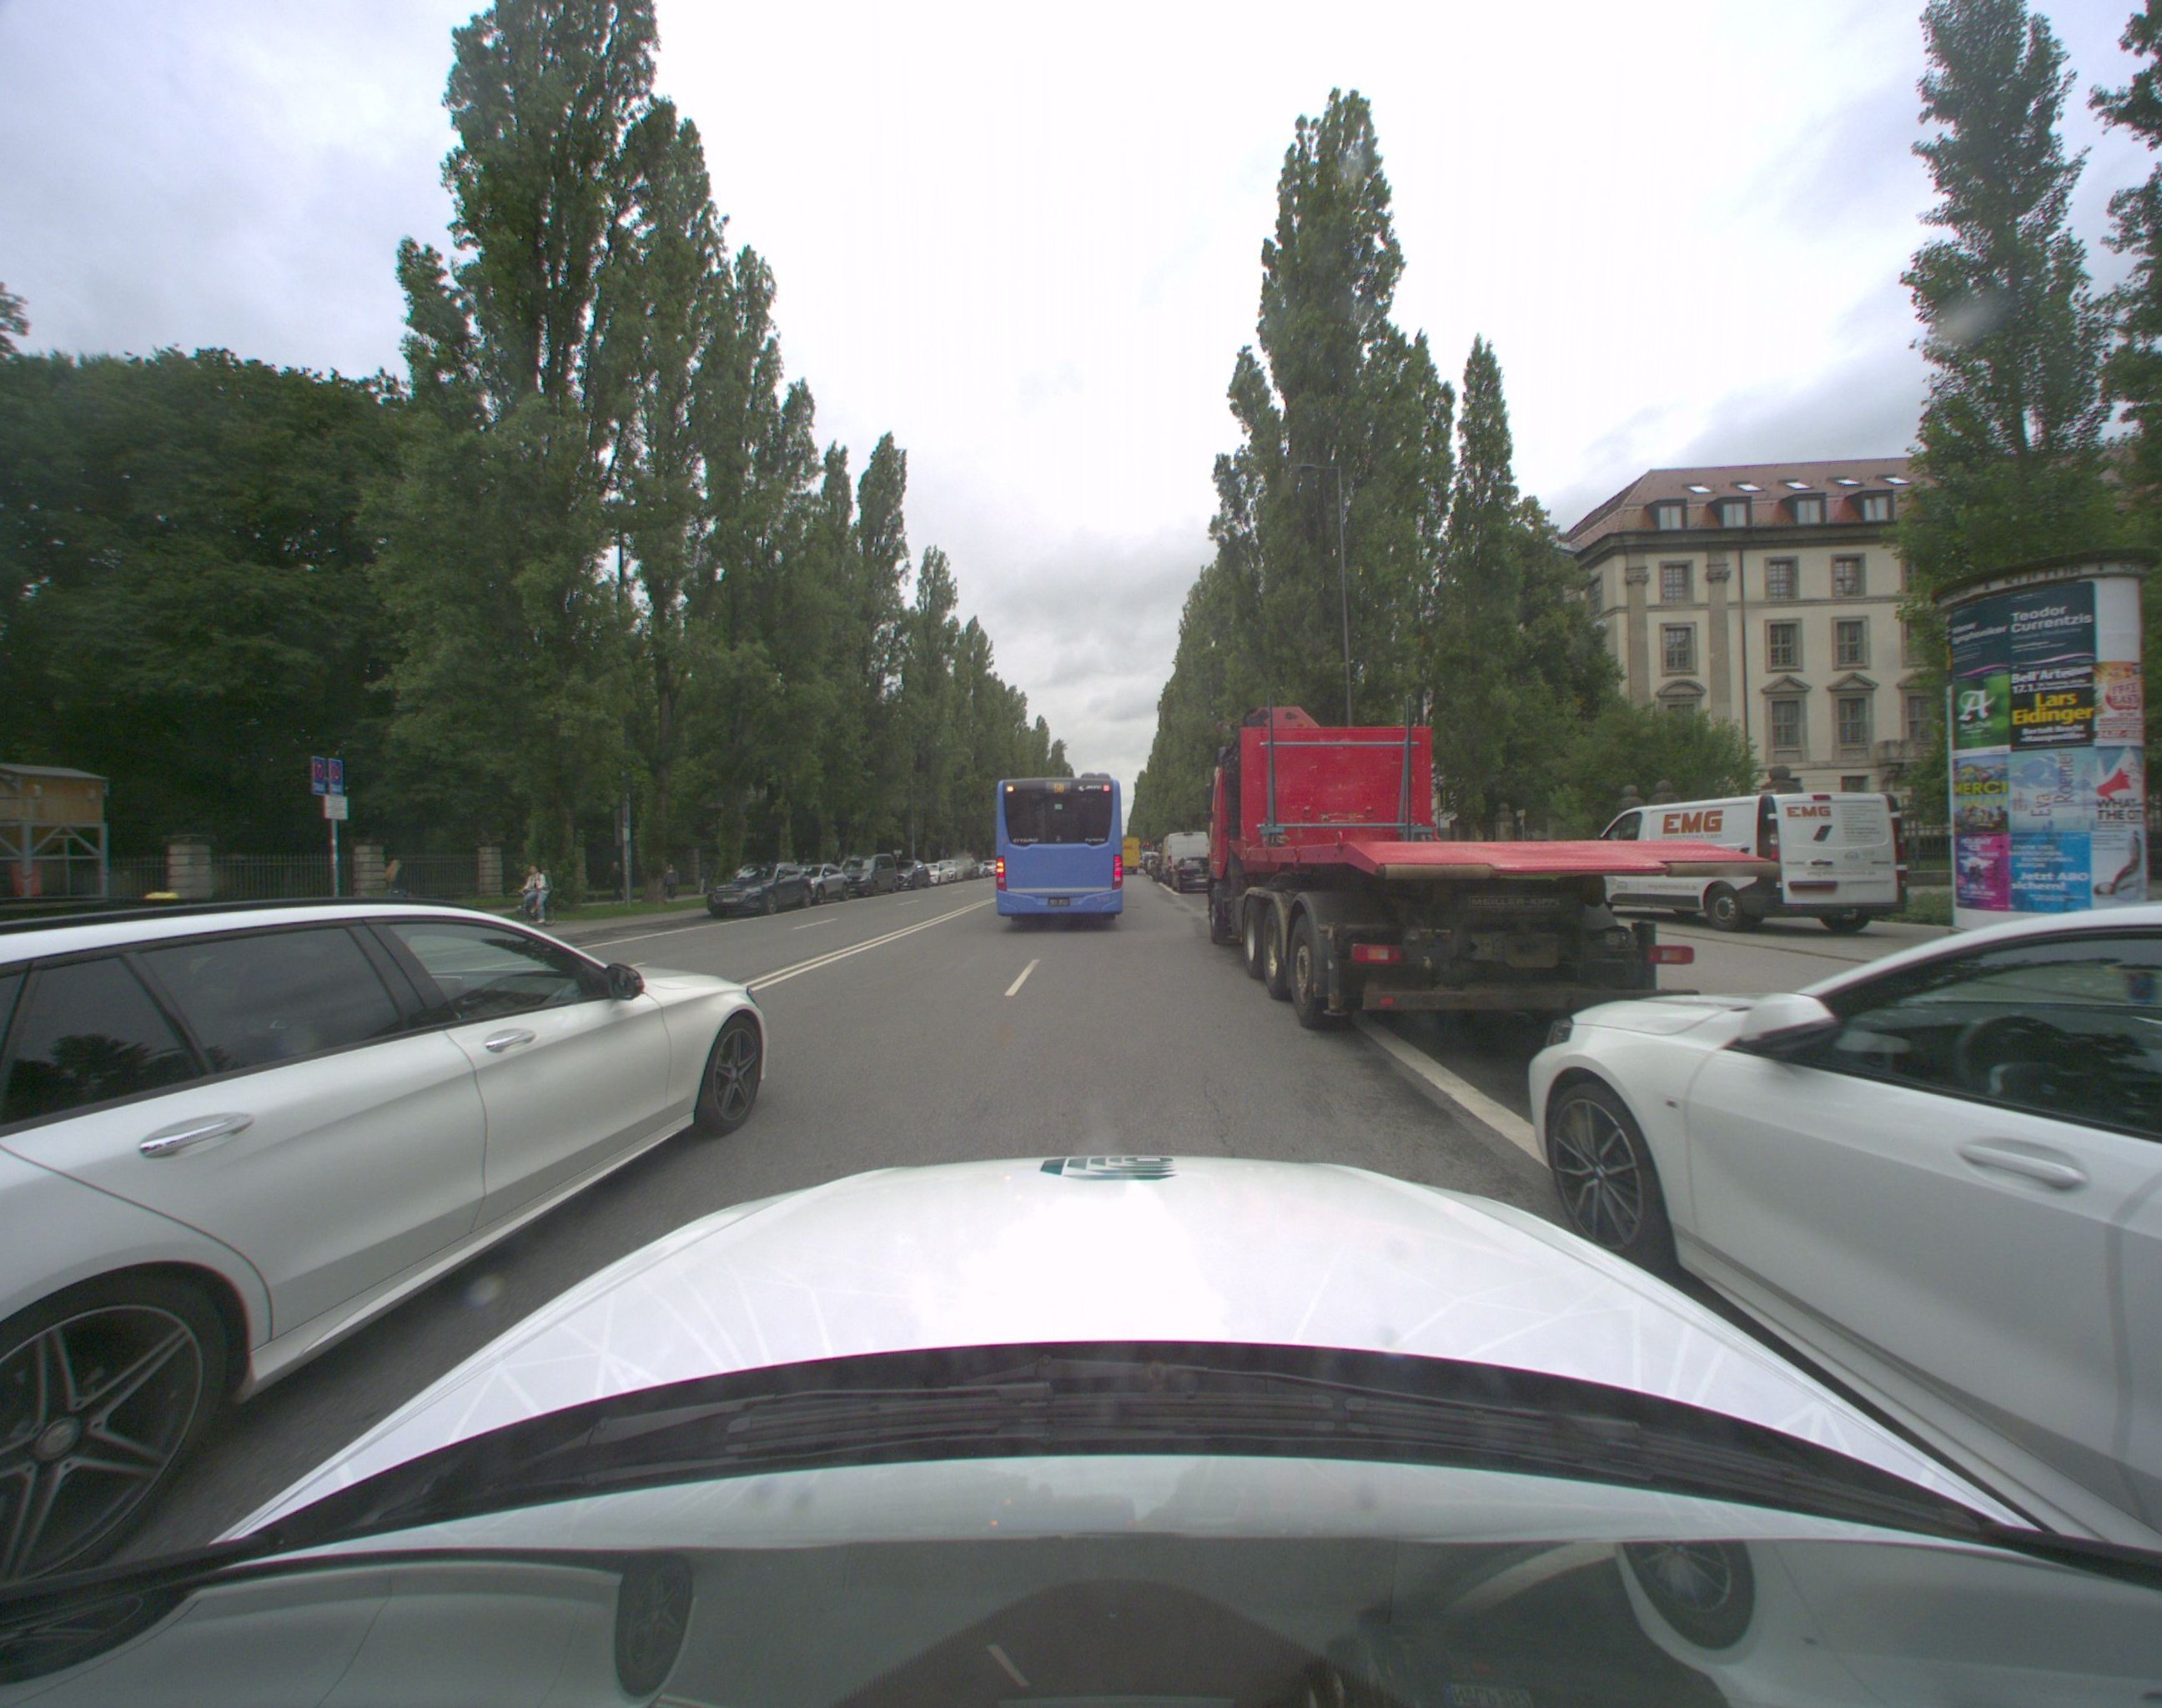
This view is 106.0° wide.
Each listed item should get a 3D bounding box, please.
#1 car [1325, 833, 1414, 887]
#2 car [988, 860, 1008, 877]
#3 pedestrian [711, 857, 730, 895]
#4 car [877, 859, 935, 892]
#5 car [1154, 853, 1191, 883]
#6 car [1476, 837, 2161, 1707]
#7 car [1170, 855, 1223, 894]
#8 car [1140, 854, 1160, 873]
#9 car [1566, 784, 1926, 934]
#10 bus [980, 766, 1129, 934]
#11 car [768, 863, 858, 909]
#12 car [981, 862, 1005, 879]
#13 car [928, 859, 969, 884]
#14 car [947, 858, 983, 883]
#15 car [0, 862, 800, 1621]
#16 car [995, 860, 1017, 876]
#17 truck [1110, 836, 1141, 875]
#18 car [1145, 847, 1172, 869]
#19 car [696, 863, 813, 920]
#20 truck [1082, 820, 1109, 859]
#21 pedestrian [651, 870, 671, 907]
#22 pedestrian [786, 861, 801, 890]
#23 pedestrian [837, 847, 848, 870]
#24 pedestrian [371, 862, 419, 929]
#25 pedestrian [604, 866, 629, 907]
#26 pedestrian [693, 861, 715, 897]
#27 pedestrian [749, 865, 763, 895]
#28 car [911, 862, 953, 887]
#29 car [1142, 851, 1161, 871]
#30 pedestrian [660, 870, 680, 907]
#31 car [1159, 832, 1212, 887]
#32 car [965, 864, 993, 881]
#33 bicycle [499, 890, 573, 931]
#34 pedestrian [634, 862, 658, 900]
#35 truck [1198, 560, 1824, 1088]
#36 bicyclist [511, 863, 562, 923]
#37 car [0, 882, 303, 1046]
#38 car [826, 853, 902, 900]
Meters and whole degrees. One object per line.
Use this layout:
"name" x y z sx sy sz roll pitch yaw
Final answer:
"car" 11.461 0.239 32.721 1.985 1.946 5.087 -1 0 3
"car" -8.296 1.447 81.692 1.739 1.519 4.113 -3 0 -3
"pedestrian" -19.243 1.150 43.470 0.663 2.014 0.639 -1 0 2
"car" -9.691 1.171 45.447 1.808 1.609 5.056 -4 -1 2
"car" 5.177 0.775 46.567 1.814 1.590 4.225 -1 0 2
"car" 2.684 0.690 1.738 1.780 1.460 4.220 -1 0 3
"car" 4.618 0.774 33.026 1.747 1.450 4.002 1 0 2
"car" 7.707 1.083 91.915 2.044 2.013 5.697 -2 0 3
"car" 10.103 0.064 13.031 1.873 1.945 4.886 0 0 1
"bus" -0.487 -0.076 20.330 2.846 3.213 9.059 -1 0 0
"car" -10.671 1.213 32.819 1.883 1.584 4.657 -3 0 2
"car" -8.294 1.558 76.893 1.679 1.413 4.006 -3 0 2
"car" -9.303 1.203 57.518 1.778 1.588 4.465 -4 0 3
"car" -8.912 1.224 62.713 1.873 1.658 4.719 -4 0 1
"car" -2.902 0.773 3.054 1.817 1.454 4.587 0 0 4
"car" -7.929 1.494 86.679 1.807 1.643 4.002 -1 0 2
"truck" 3.591 0.143 66.302 2.318 2.898 7.336 -1 0 2
"car" 5.863 0.295 61.802 1.774 1.582 4.149 1 0 2
"car" -10.678 1.164 27.076 1.775 1.596 4.616 -3 0 2
"truck" 1.570 -1.504 90.258 2.706 3.965 9.218 -2 0 1
"pedestrian" -19.677 1.613 38.127 0.506 1.707 0.723 -1 0 3
"pedestrian" -18.010 1.338 51.060 0.606 1.757 0.757 -2 -1 1
"pedestrian" -18.612 0.373 63.561 0.547 1.747 0.673 -1 -1 2
"pedestrian" -18.205 1.081 21.634 0.580 1.720 0.787 -1 0 1
"pedestrian" -19.284 1.352 33.812 0.615 1.660 0.705 -1 0 3
"pedestrian" -20.047 1.313 43.320 0.743 1.854 0.758 -1 0 3
"pedestrian" -18.773 1.483 47.050 0.506 1.707 0.570 -1 0 3
"car" -9.477 1.307 52.165 1.669 1.422 4.240 -3 -1 2
"car" 7.230 0.714 83.878 1.798 1.976 4.240 -1 0 3
"pedestrian" -19.088 1.587 37.851 0.547 1.669 0.674 -1 0 3
"car" 5.105 0.255 40.502 2.066 2.479 6.287 0 0 2
"car" -8.609 1.524 68.924 1.573 1.304 4.032 -3 0 3
"bicycle" -14.178 1.445 21.252 0.705 0.939 1.735 -1 0 1
"pedestrian" -20.344 1.248 38.097 0.664 1.722 0.734 -1 0 4
"truck" 3.321 -0.161 10.132 2.702 3.110 10.434 -2 0 3
"bicyclist" -14.190 1.008 21.252 0.691 1.498 0.862 -2 0 1
"car" -11.670 1.188 8.680 1.922 1.497 4.795 -2 0 4
"car" -10.214 0.993 38.701 1.986 1.956 4.940 -3 0 2
